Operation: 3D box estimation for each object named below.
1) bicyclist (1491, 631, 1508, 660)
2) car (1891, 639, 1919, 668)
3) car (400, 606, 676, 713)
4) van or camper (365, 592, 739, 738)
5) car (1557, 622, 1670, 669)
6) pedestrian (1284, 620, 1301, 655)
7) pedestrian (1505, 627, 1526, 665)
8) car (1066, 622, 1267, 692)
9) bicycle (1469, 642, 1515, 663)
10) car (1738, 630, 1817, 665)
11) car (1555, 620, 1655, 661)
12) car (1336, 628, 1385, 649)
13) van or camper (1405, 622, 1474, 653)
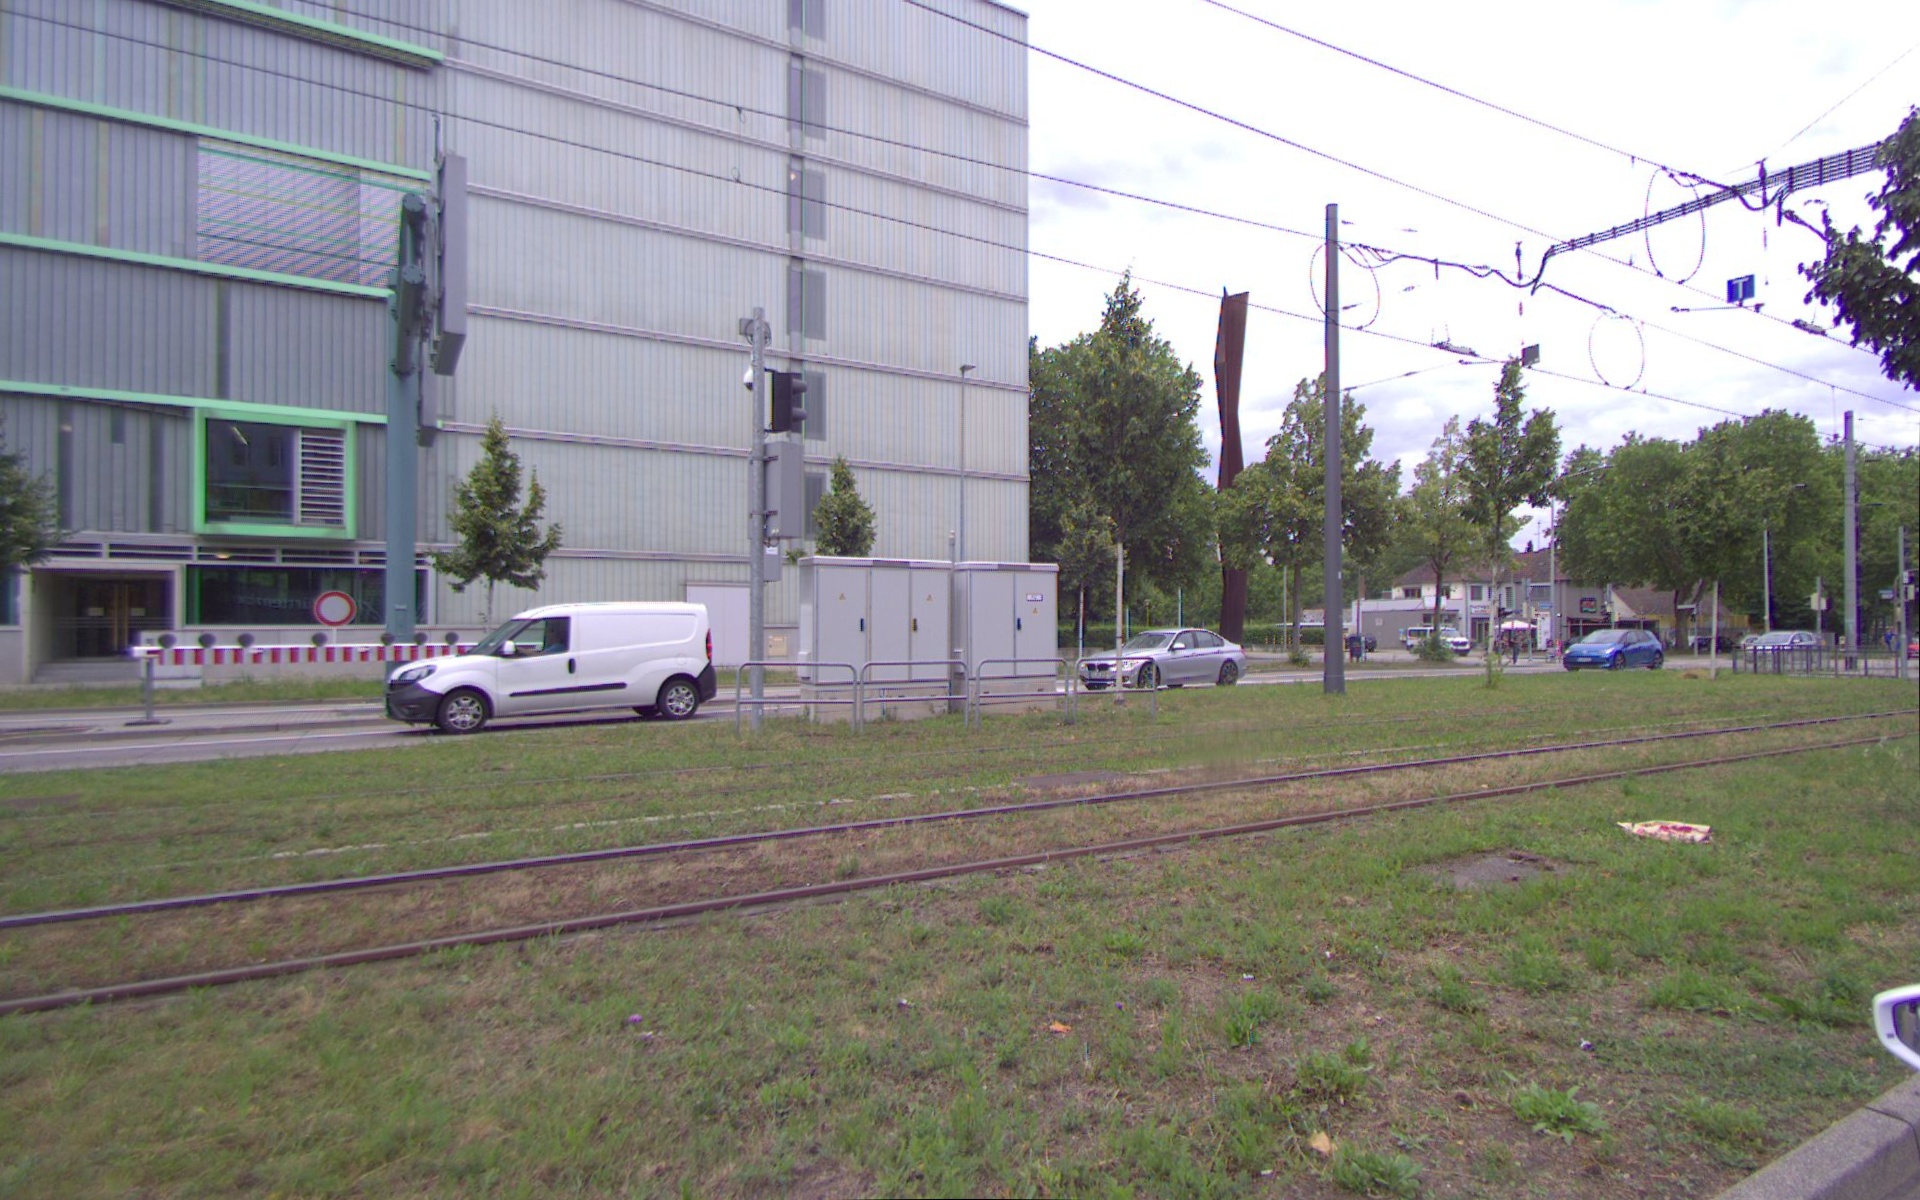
[{"bbox_3d":[33.458,2.828,62.332,0.838,1.744,0.719,-1,-1,34],"label":"bicyclist"},{"bbox_3d":[57.524,3.175,59.865,4.275,1.591,1.788,1,-1,-29],"label":"car"},{"bbox_3d":[-8.902,1.181,21.337,5.232,2.040,1.984,1,-1,-30],"label":"car"},{"bbox_3d":[-6.160,0.936,15.500,5.074,1.925,1.876,1,-3,-36],"label":"van or camper"},{"bbox_3d":[24.375,1.649,37.432,4.641,1.609,1.951,1,-1,-35],"label":"car"},{"bbox_3d":[19.193,2.160,58.010,0.887,2.040,0.954,0,-1,18],"label":"pedestrian"},{"bbox_3d":[27.389,2.247,49.529,0.769,1.856,0.771,-1,-1,43],"label":"pedestrian"},{"bbox_3d":[4.882,1.287,23.435,4.872,1.464,1.718,0,-3,-35],"label":"car"},{"bbox_3d":[33.131,3.245,62.563,2.474,1.218,0.738,-1,-1,35],"label":"bicycle"},{"bbox_3d":[41.018,2.330,50.361,4.623,1.665,1.711,1,-1,-33],"label":"car"},{"bbox_3d":[27.393,1.709,42.606,4.529,1.591,1.786,2,1,-32],"label":"car"},{"bbox_3d":[37.188,3.582,93.367,1.974,1.873,3.973,1,-1,-27],"label":"car"},{"bbox_3d":[33.036,2.572,69.441,2.416,2.040,5.283,0,-1,2],"label":"van or camper"}]
